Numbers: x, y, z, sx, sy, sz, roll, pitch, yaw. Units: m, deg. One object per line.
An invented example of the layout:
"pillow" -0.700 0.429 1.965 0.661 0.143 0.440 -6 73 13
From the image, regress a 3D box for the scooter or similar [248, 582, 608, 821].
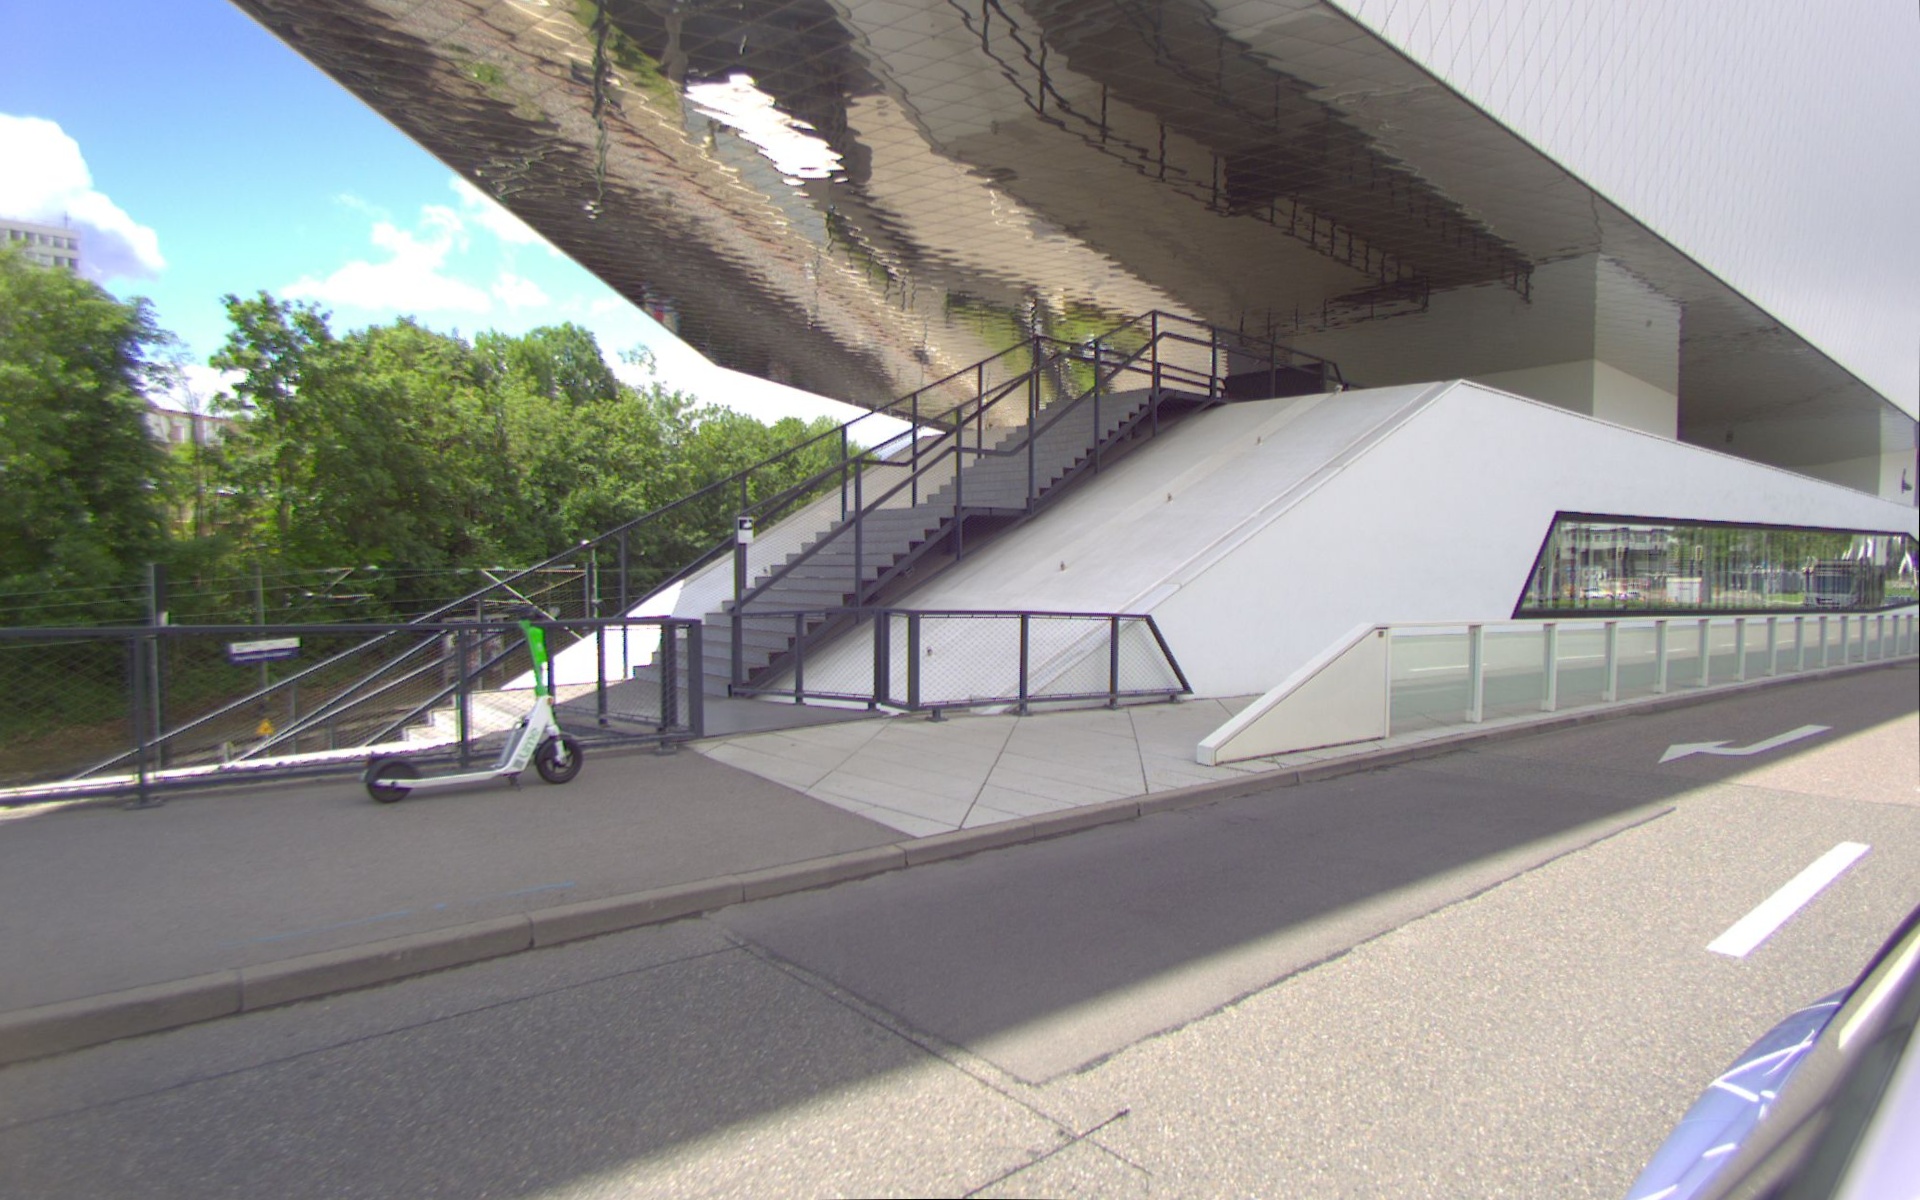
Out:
"scooter or similar" -3.160 0.520 6.131 1.826 1.229 0.654 -1 3 -42
